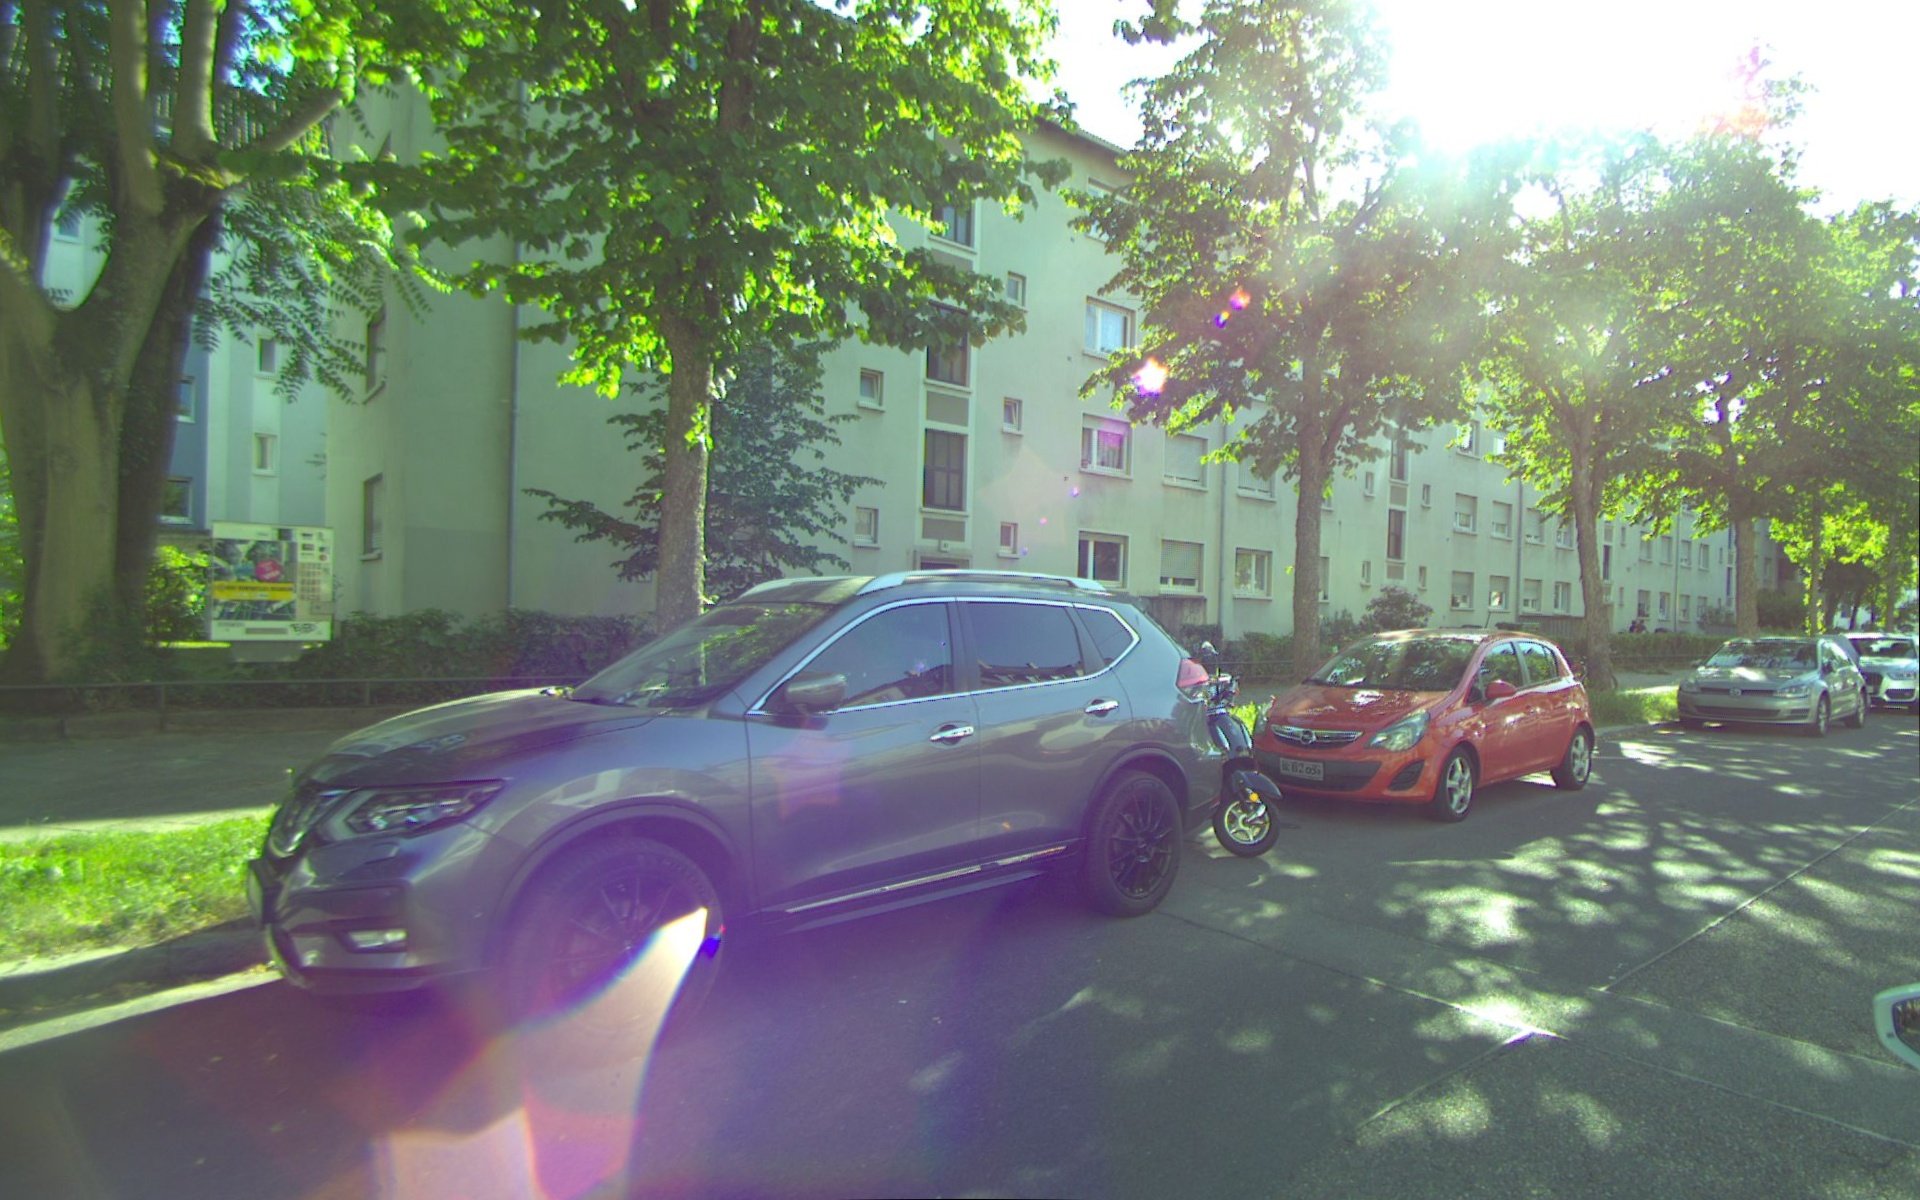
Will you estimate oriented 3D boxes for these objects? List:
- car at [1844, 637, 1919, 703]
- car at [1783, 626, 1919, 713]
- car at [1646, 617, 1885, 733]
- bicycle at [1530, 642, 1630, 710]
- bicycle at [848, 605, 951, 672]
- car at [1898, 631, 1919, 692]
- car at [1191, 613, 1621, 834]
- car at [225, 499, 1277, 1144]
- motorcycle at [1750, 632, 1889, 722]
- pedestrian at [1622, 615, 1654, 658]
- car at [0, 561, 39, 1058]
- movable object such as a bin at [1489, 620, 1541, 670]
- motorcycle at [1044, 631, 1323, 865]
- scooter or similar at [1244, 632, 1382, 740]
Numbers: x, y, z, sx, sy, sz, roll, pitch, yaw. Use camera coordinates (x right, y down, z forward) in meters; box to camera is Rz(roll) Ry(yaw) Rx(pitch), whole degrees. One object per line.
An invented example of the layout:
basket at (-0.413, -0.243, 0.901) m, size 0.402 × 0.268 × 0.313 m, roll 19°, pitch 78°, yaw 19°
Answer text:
car at (22.966, 1.638, 24.280) m, size 4.782 × 1.466 × 1.714 m, roll 2°, pitch -3°, yaw -40°
car at (18.985, 1.375, 21.034) m, size 4.687 × 1.544 × 2.045 m, roll 2°, pitch 0°, yaw -43°
car at (12.986, 1.111, 16.105) m, size 4.566 × 1.544 × 2.027 m, roll 2°, pitch 0°, yaw -39°
bicycle at (10.596, 1.276, 17.131) m, size 2.069 × 1.029 × 0.527 m, roll 2°, pitch 7°, yaw -34°
bicycle at (-1.143, 0.732, 19.305) m, size 1.894 × 1.217 × 0.681 m, roll 2°, pitch 0°, yaw -37°
car at (28.022, 1.717, 28.379) m, size 4.331 × 1.639 × 1.714 m, roll 2°, pitch -4°, yaw -41°
car at (4.120, 0.914, 8.994) m, size 4.147 × 1.489 × 1.841 m, roll 2°, pitch 0°, yaw -39°
car at (-0.553, 0.650, 4.904) m, size 4.776 × 1.710 × 1.753 m, roll 2°, pitch -1°, yaw -41°
motorcycle at (15.859, 1.369, 18.630) m, size 0.969 × 1.523 × 2.235 m, roll 1°, pitch -1°, yaw 11°
pedestrian at (31.142, 1.668, 46.136) m, size 1.015 × 1.913 × 0.927 m, roll 2°, pitch 0°, yaw -35°
car at (-4.581, 0.603, 1.629) m, size 4.381 × 1.551 × 1.755 m, roll 2°, pitch 0°, yaw -39°
movable object such as a bin at (15.547, 1.245, 28.127) m, size 1.370 × 1.341 × 0.920 m, roll 2°, pitch -1°, yaw -45°
motorcycle at (1.483, 0.920, 7.049) m, size 0.778 × 1.350 × 1.943 m, roll 2°, pitch -1°, yaw -31°
scooter or similar at (4.295, 1.040, 12.244) m, size 1.487 × 1.251 × 0.555 m, roll 2°, pitch 0°, yaw -10°
